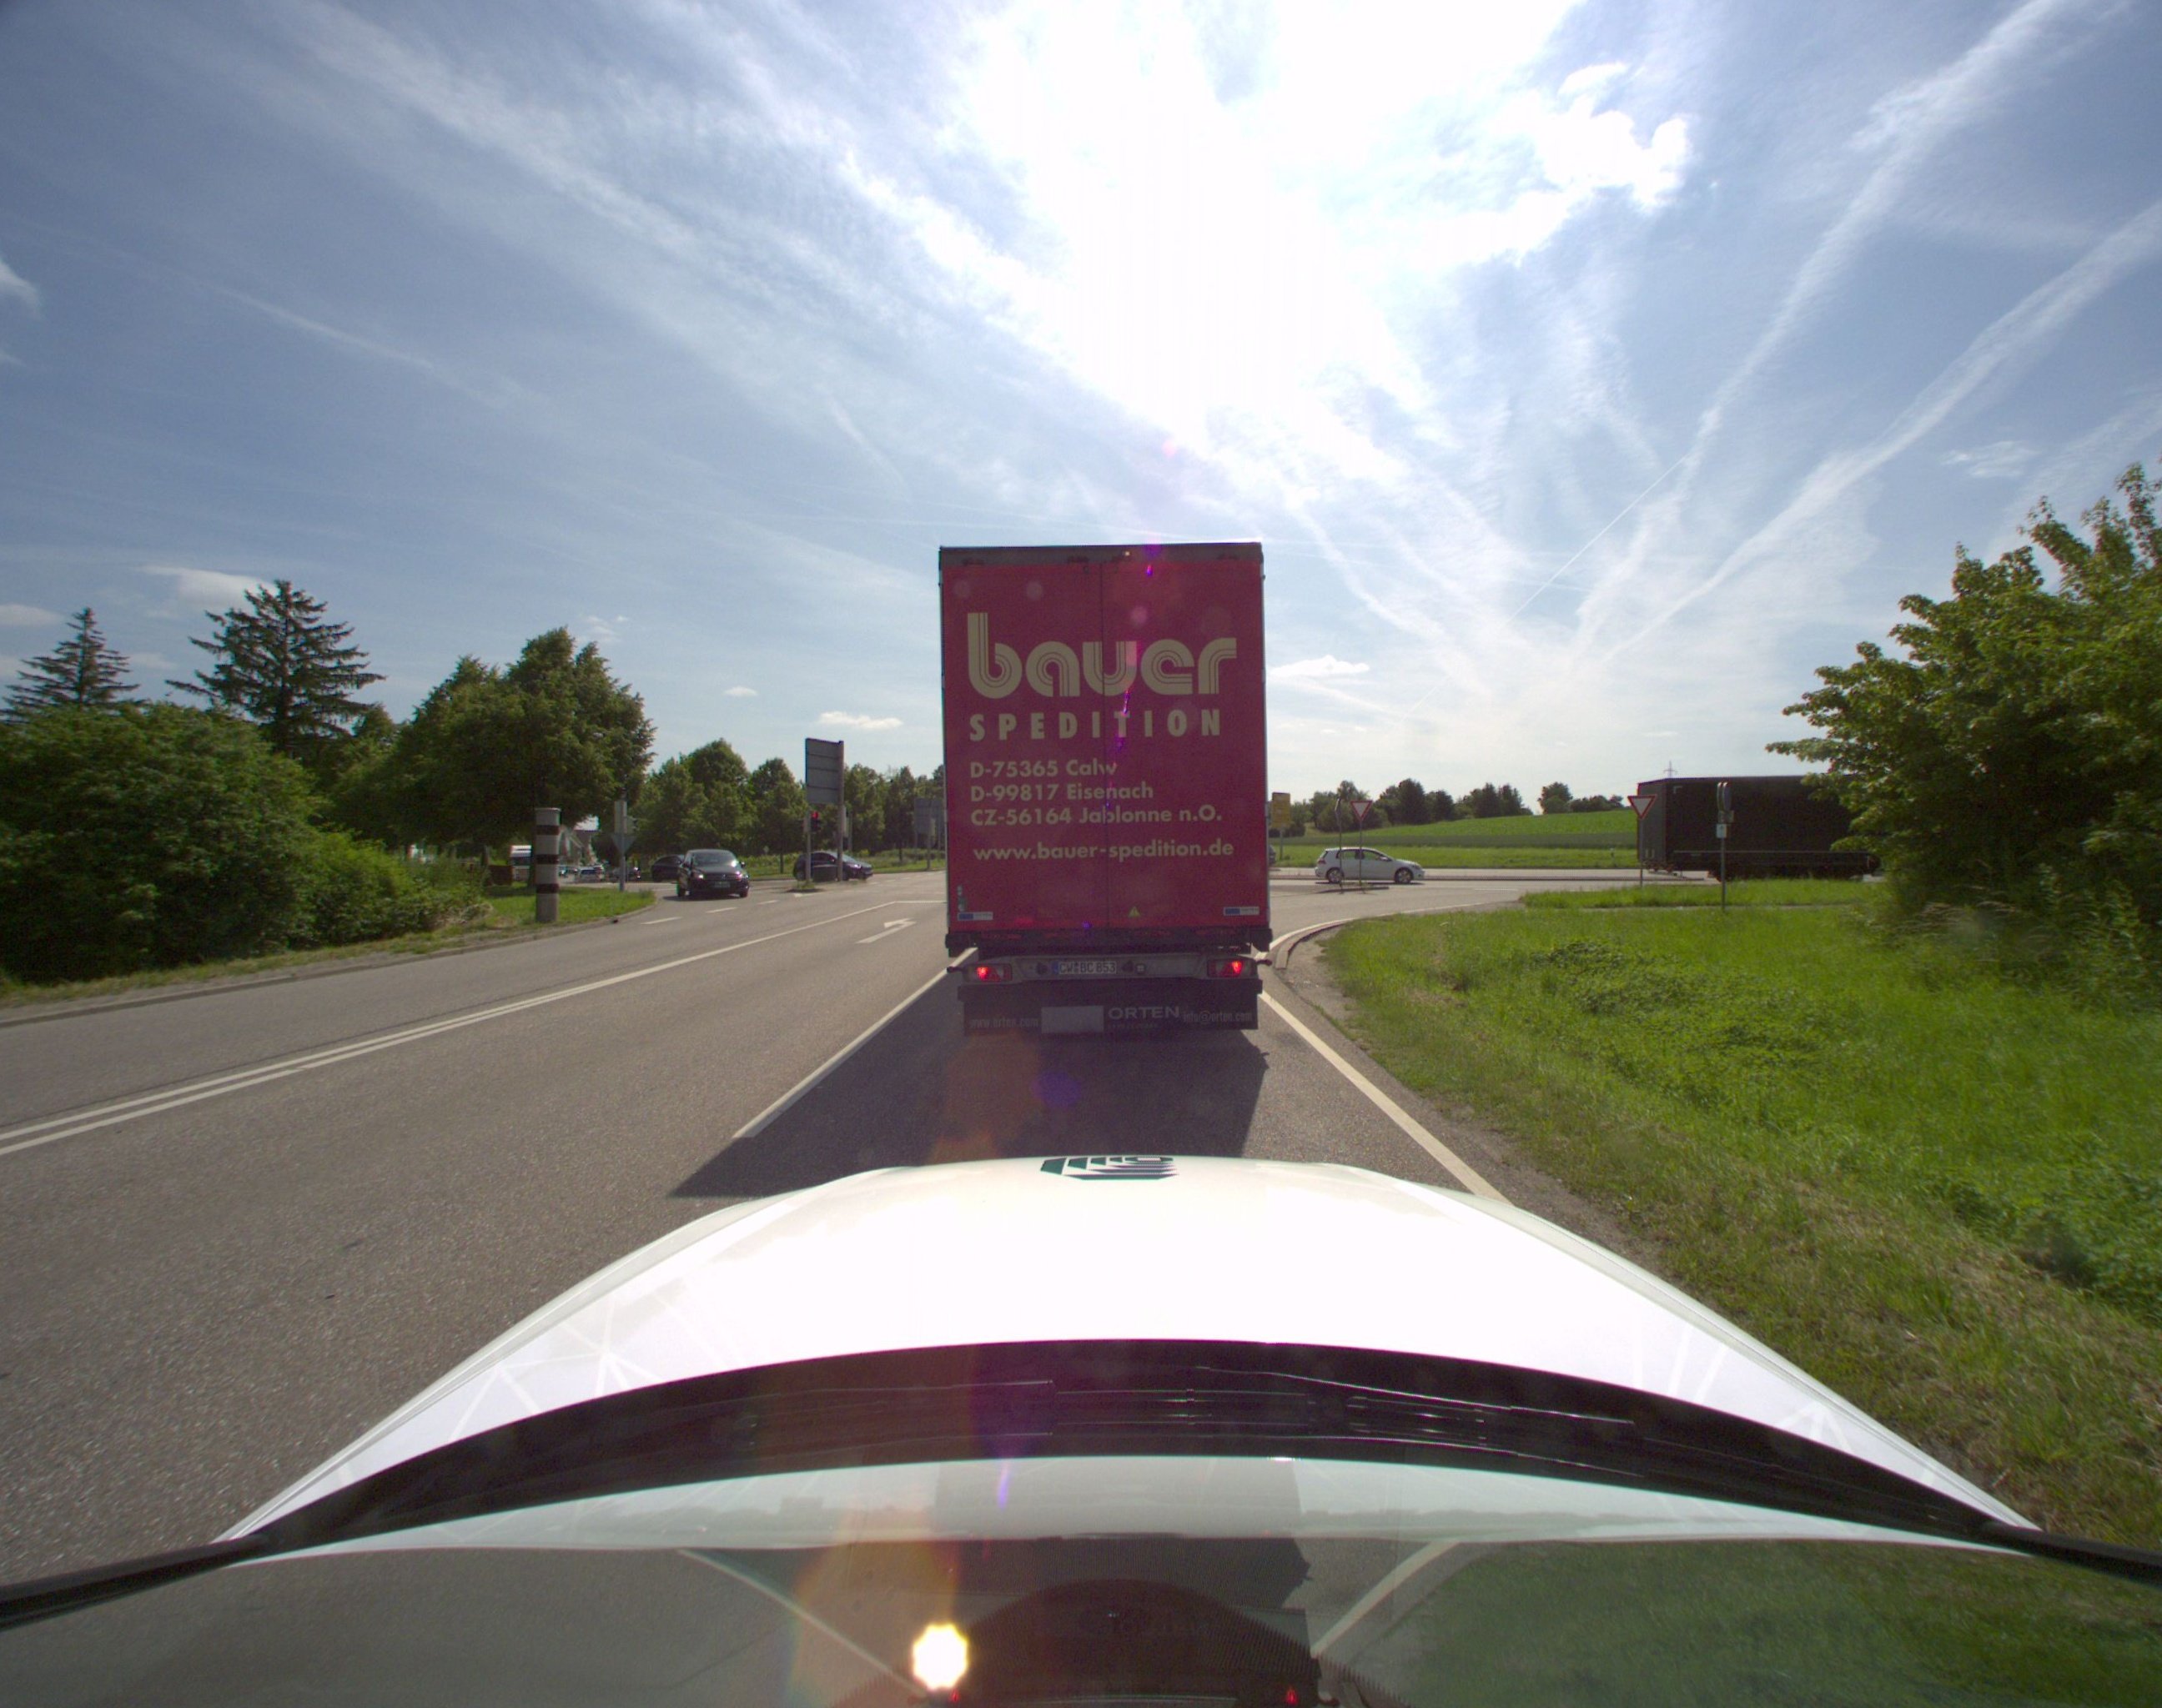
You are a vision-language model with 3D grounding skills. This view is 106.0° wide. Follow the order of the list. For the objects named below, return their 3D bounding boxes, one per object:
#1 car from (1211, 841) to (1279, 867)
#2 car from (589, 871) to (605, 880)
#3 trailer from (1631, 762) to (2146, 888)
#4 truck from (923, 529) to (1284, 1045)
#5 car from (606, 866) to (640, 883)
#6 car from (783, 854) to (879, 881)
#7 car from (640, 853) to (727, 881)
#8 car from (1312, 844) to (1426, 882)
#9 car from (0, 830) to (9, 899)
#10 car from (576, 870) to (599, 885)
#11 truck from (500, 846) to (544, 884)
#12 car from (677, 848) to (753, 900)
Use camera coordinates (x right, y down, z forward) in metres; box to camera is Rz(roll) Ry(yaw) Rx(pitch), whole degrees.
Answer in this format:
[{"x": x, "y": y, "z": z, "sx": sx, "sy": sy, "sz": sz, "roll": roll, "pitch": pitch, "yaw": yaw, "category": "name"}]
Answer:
[{"x": 10.438, "y": 0.028, "z": 51.958, "sx": 3.948, "sy": 1.596, "sz": 1.675, "roll": -1, "pitch": 0, "yaw": 38, "category": "car"}, {"x": -75.920, "y": 3.362, "z": 127.715, "sx": 2.006, "sy": 1.429, "sz": 3.962, "roll": 0, "pitch": -1, "yaw": -30, "category": "car"}, {"x": 28.059, "y": -0.937, "z": 29.275, "sx": 13.583, "sy": 4.061, "sz": 2.810, "roll": 0, "pitch": 1, "yaw": 15, "category": "trailer"}, {"x": 0.402, "y": -0.568, "z": 14.559, "sx": 2.724, "sy": 3.925, "sz": 16.631, "roll": -1, "pitch": 0, "yaw": 2, "category": "truck"}, {"x": -38.266, "y": 1.692, "z": 67.977, "sx": 1.751, "sy": 1.305, "sz": 4.231, "roll": -1, "pitch": 0, "yaw": -40, "category": "car"}, {"x": -12.226, "y": 0.651, "z": 39.873, "sx": 4.233, "sy": 1.305, "sz": 1.750, "roll": 0, "pitch": -1, "yaw": 17, "category": "car"}, {"x": -21.143, "y": 0.705, "z": 43.359, "sx": 4.230, "sy": 1.429, "sz": 1.751, "roll": 0, "pitch": -1, "yaw": 22, "category": "car"}, {"x": 11.628, "y": 0.350, "z": 33.155, "sx": 4.216, "sy": 1.461, "sz": 1.817, "roll": 0, "pitch": 1, "yaw": 14, "category": "car"}, {"x": -36.073, "y": 0.321, "z": 24.243, "sx": 4.601, "sy": 2.180, "sz": 1.985, "roll": 0, "pitch": 0, "yaw": -22, "category": "car"}, {"x": -47.371, "y": 2.222, "z": 78.127, "sx": 1.683, "sy": 1.357, "sz": 3.819, "roll": 0, "pitch": -2, "yaw": -34, "category": "car"}, {"x": -57.609, "y": 1.130, "z": 84.071, "sx": 2.955, "sy": 3.798, "sz": 7.852, "roll": 0, "pitch": -1, "yaw": -29, "category": "truck"}, {"x": -12.657, "y": 0.640, "z": 28.044, "sx": 1.816, "sy": 1.597, "sz": 4.226, "roll": -1, "pitch": 1, "yaw": -32, "category": "car"}]
